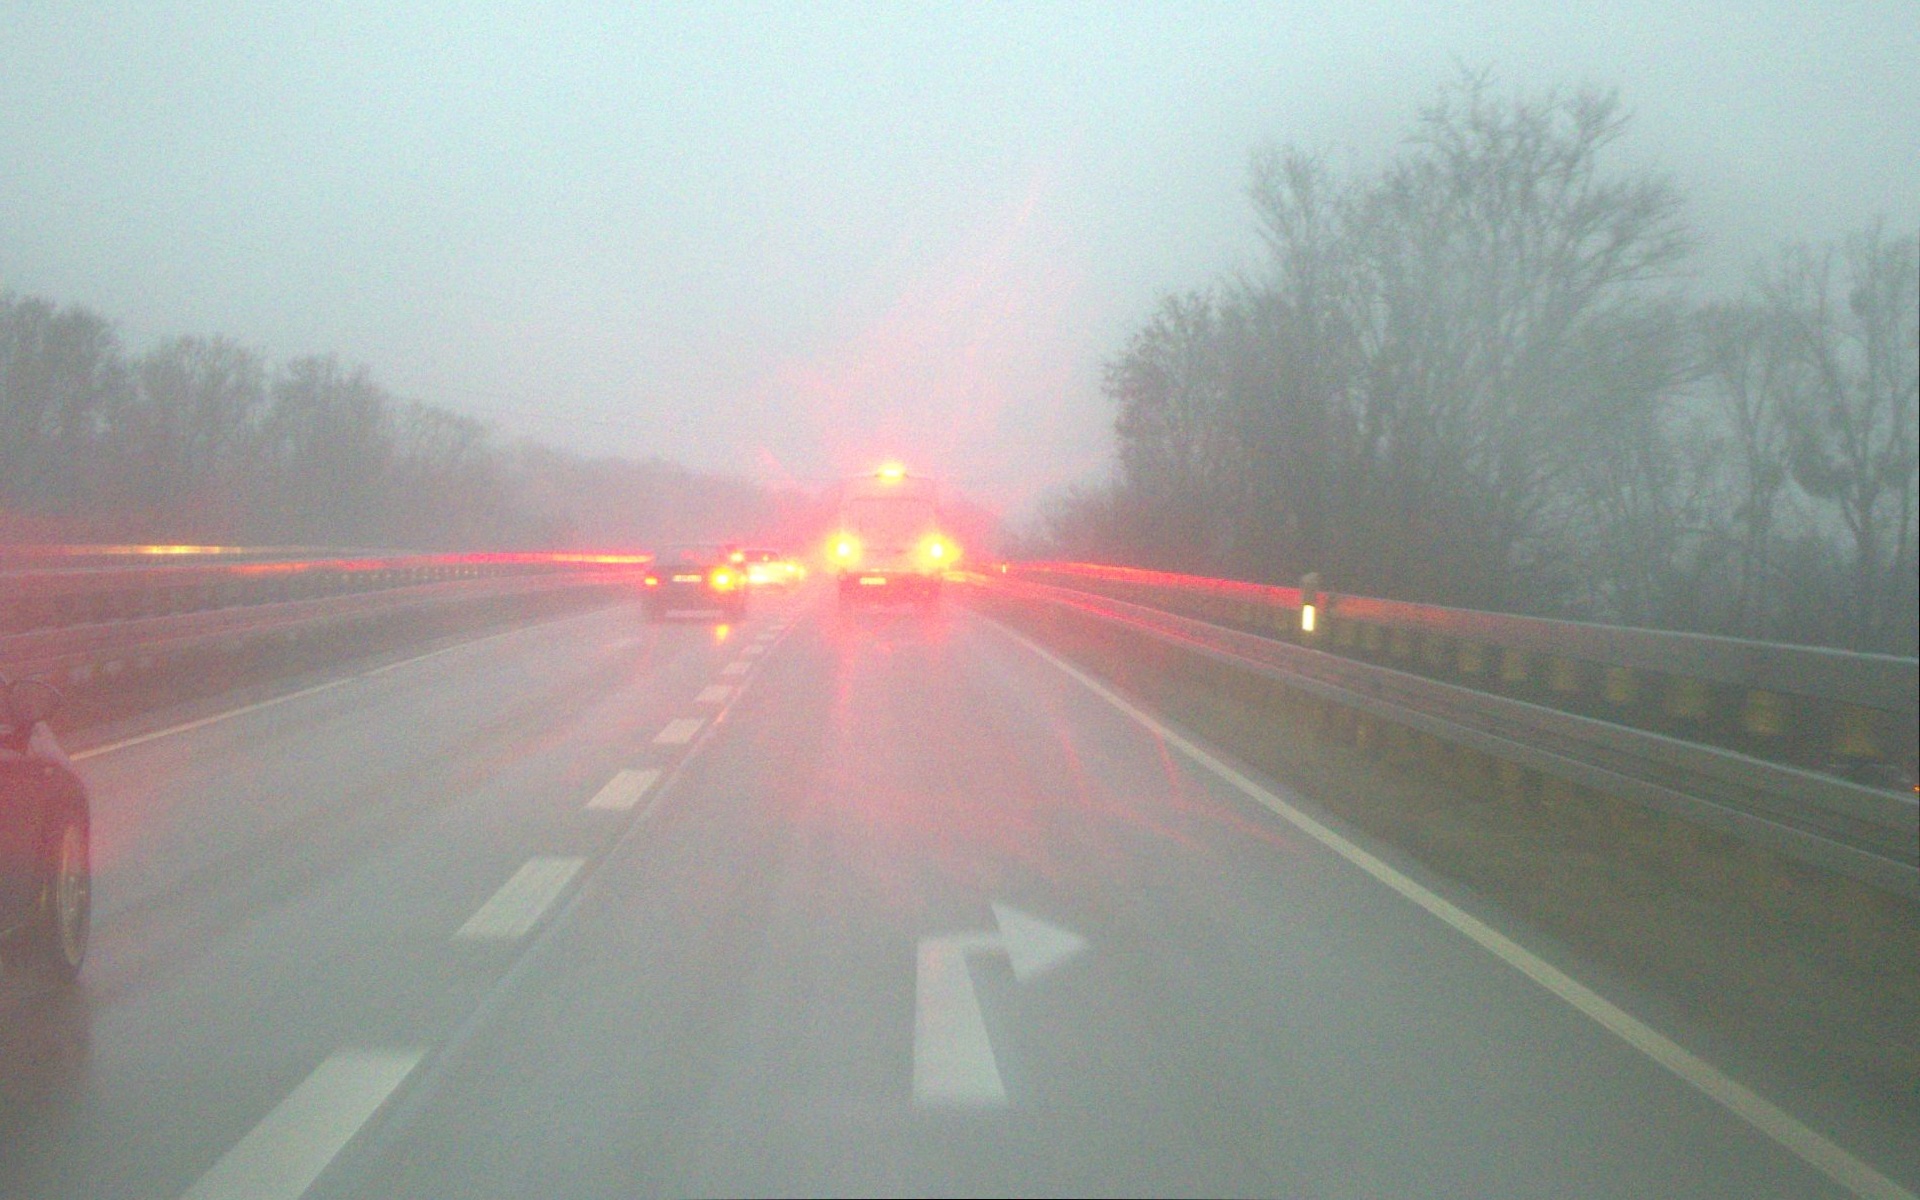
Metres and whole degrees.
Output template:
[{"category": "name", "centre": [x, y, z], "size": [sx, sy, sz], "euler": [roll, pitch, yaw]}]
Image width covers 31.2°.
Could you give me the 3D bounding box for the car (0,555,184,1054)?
[{"category": "car", "centre": [-3.550, 0.566, 10.516], "size": [1.625, 1.387, 4.001], "euler": [0, 1, -3]}]

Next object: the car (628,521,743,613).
[{"category": "car", "centre": [-4.986, -0.573, 62.832], "size": [1.834, 1.532, 4.000], "euler": [1, -1, -1]}]

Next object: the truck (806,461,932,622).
[{"category": "truck", "centre": [-1.791, -1.098, 67.902], "size": [2.382, 2.899, 4.674], "euler": [0, -2, -1]}]
